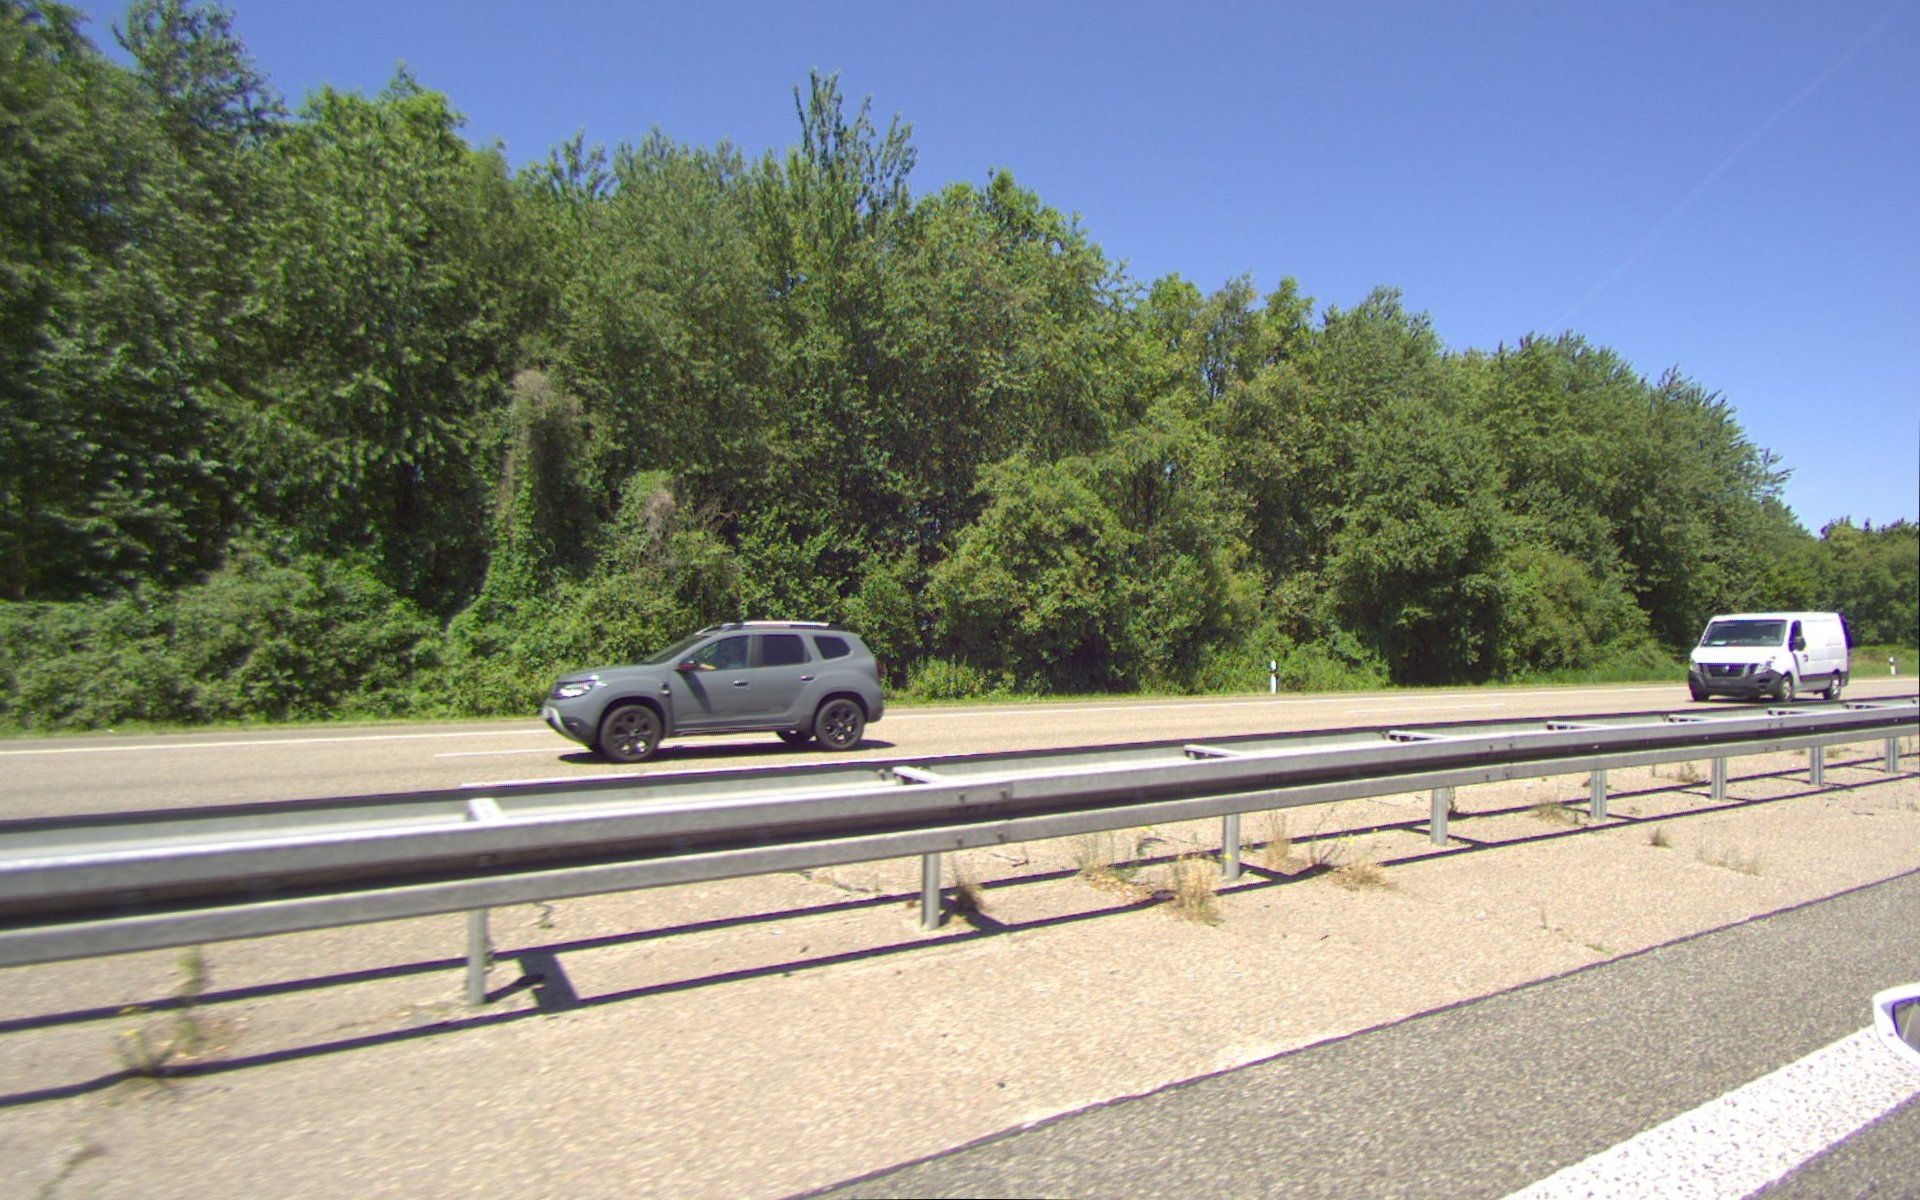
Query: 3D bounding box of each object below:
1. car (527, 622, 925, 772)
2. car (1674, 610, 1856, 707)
[{"bbox_3d":[-2.944,1.165,13.078,4.744,1.652,1.811,2,-3,-32],"label":"car"},{"bbox_3d":[21.105,1.492,26.269,5.217,2.318,2.076,2,-2,-32],"label":"car"}]
